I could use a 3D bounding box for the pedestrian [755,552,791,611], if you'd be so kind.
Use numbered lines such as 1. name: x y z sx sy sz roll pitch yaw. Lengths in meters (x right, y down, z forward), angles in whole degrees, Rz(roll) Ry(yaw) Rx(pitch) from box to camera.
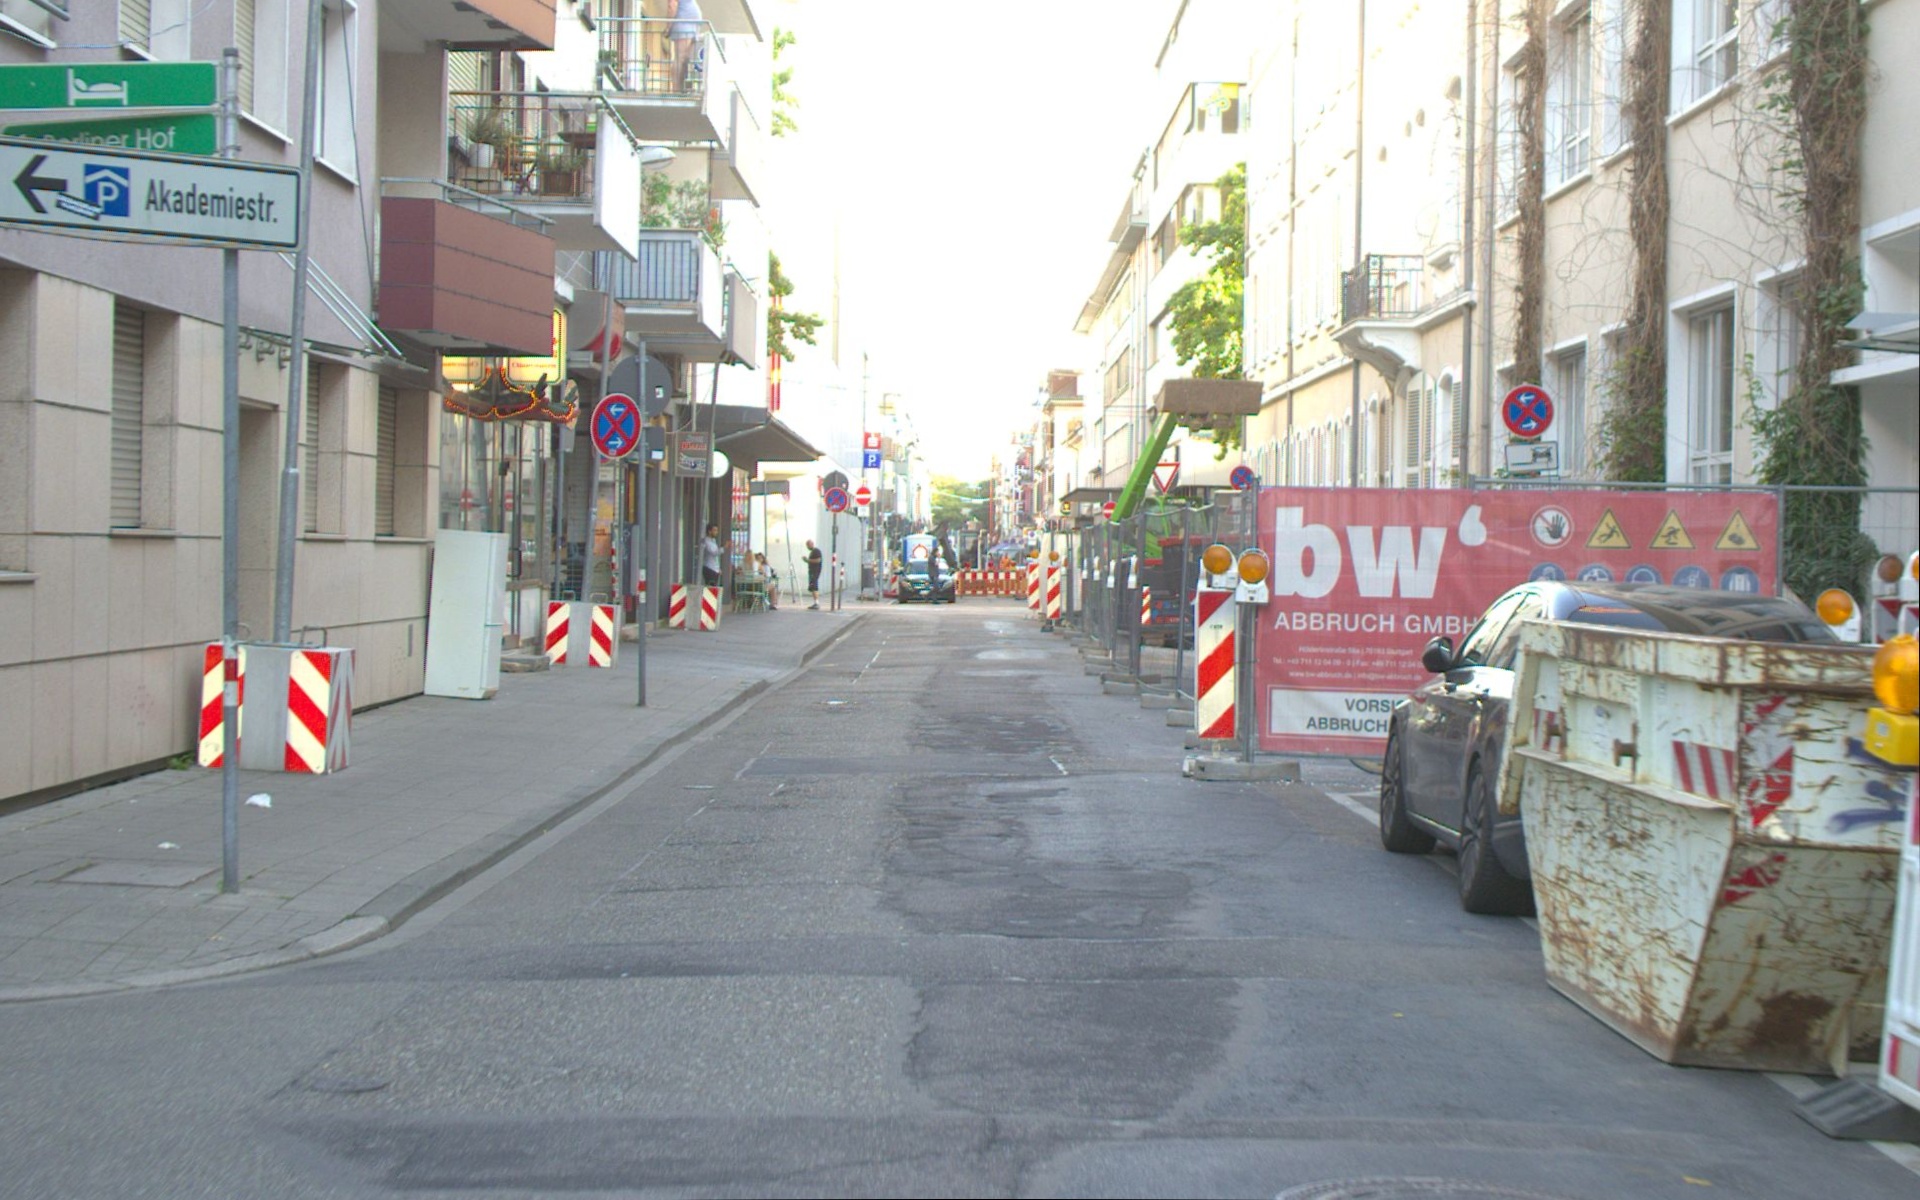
1. pedestrian: -4.172 -0.415 76.898 0.702 1.271 0.713 3 1 0

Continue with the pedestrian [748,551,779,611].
1. pedestrian: -4.277 -0.412 74.829 0.573 1.271 0.713 3 1 0

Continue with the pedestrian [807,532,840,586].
1. pedestrian: -3.220 -0.972 81.210 0.711 1.271 0.704 1 1 0

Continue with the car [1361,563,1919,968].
1. car: 3.023 0.627 15.680 1.787 1.466 4.446 3 1 0

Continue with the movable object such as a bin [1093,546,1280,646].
1. movable object such as a bin: 4.021 -0.123 62.561 2.736 1.633 7.553 2 1 -1

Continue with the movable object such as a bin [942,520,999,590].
1. movable object such as a bin: 0.413 -1.784 136.249 2.156 2.654 4.573 1 1 0

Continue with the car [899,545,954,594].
1. car: -1.091 -0.984 110.970 1.629 1.545 3.143 0 1 -3

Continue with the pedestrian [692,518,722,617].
1. pedestrian: -4.714 -0.601 64.077 0.530 1.828 0.563 1 1 -6

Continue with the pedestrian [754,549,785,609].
1. pedestrian: -4.202 -0.469 75.993 0.573 1.271 0.713 3 1 0

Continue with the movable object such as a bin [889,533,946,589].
1. movable object such as a bin: -1.552 -1.449 126.127 1.993 2.007 4.000 0 1 1

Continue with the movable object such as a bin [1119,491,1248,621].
1. movable object such as a bin: 4.974 -0.999 77.145 2.605 2.829 4.450 0 1 0
